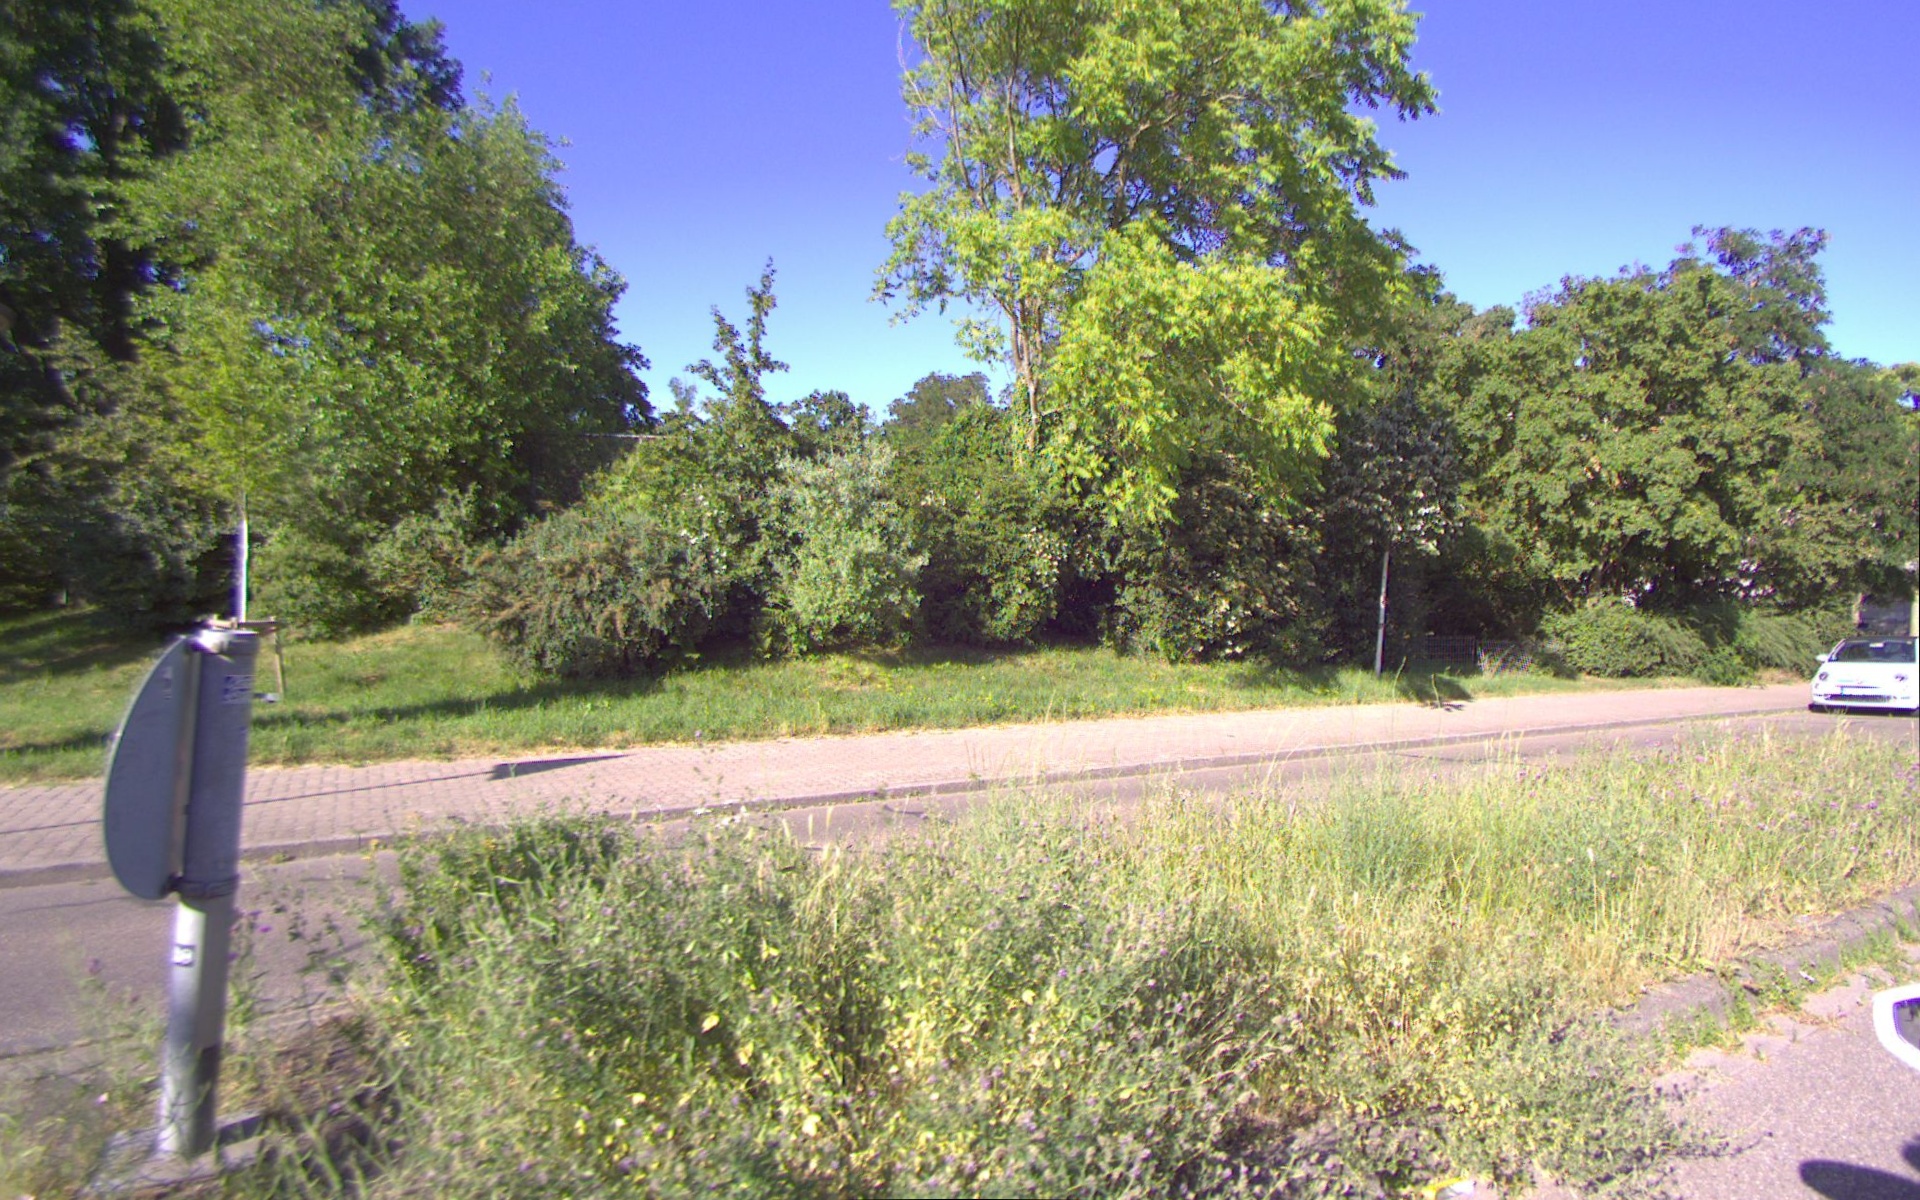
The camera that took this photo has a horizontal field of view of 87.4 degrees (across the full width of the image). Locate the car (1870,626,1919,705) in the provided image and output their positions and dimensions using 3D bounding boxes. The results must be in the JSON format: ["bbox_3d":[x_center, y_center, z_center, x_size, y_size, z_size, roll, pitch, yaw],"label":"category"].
[{"bbox_3d":[22.103,1.423,22.284,4.202,1.660,1.666,1,-3,-31],"label":"car"}]

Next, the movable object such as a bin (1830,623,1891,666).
[{"bbox_3d":[30.750,1.518,34.322,1.248,1.420,1.269,1,-1,-32],"label":"movable object such as a bin"}]

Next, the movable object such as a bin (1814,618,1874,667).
[{"bbox_3d":[29.255,1.396,33.231,1.267,1.572,1.250,2,-1,-35],"label":"movable object such as a bin"}]

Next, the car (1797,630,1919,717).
[{"bbox_3d":[17.958,1.373,19.713,3.387,1.548,1.614,1,-2,-37],"label":"car"}]
